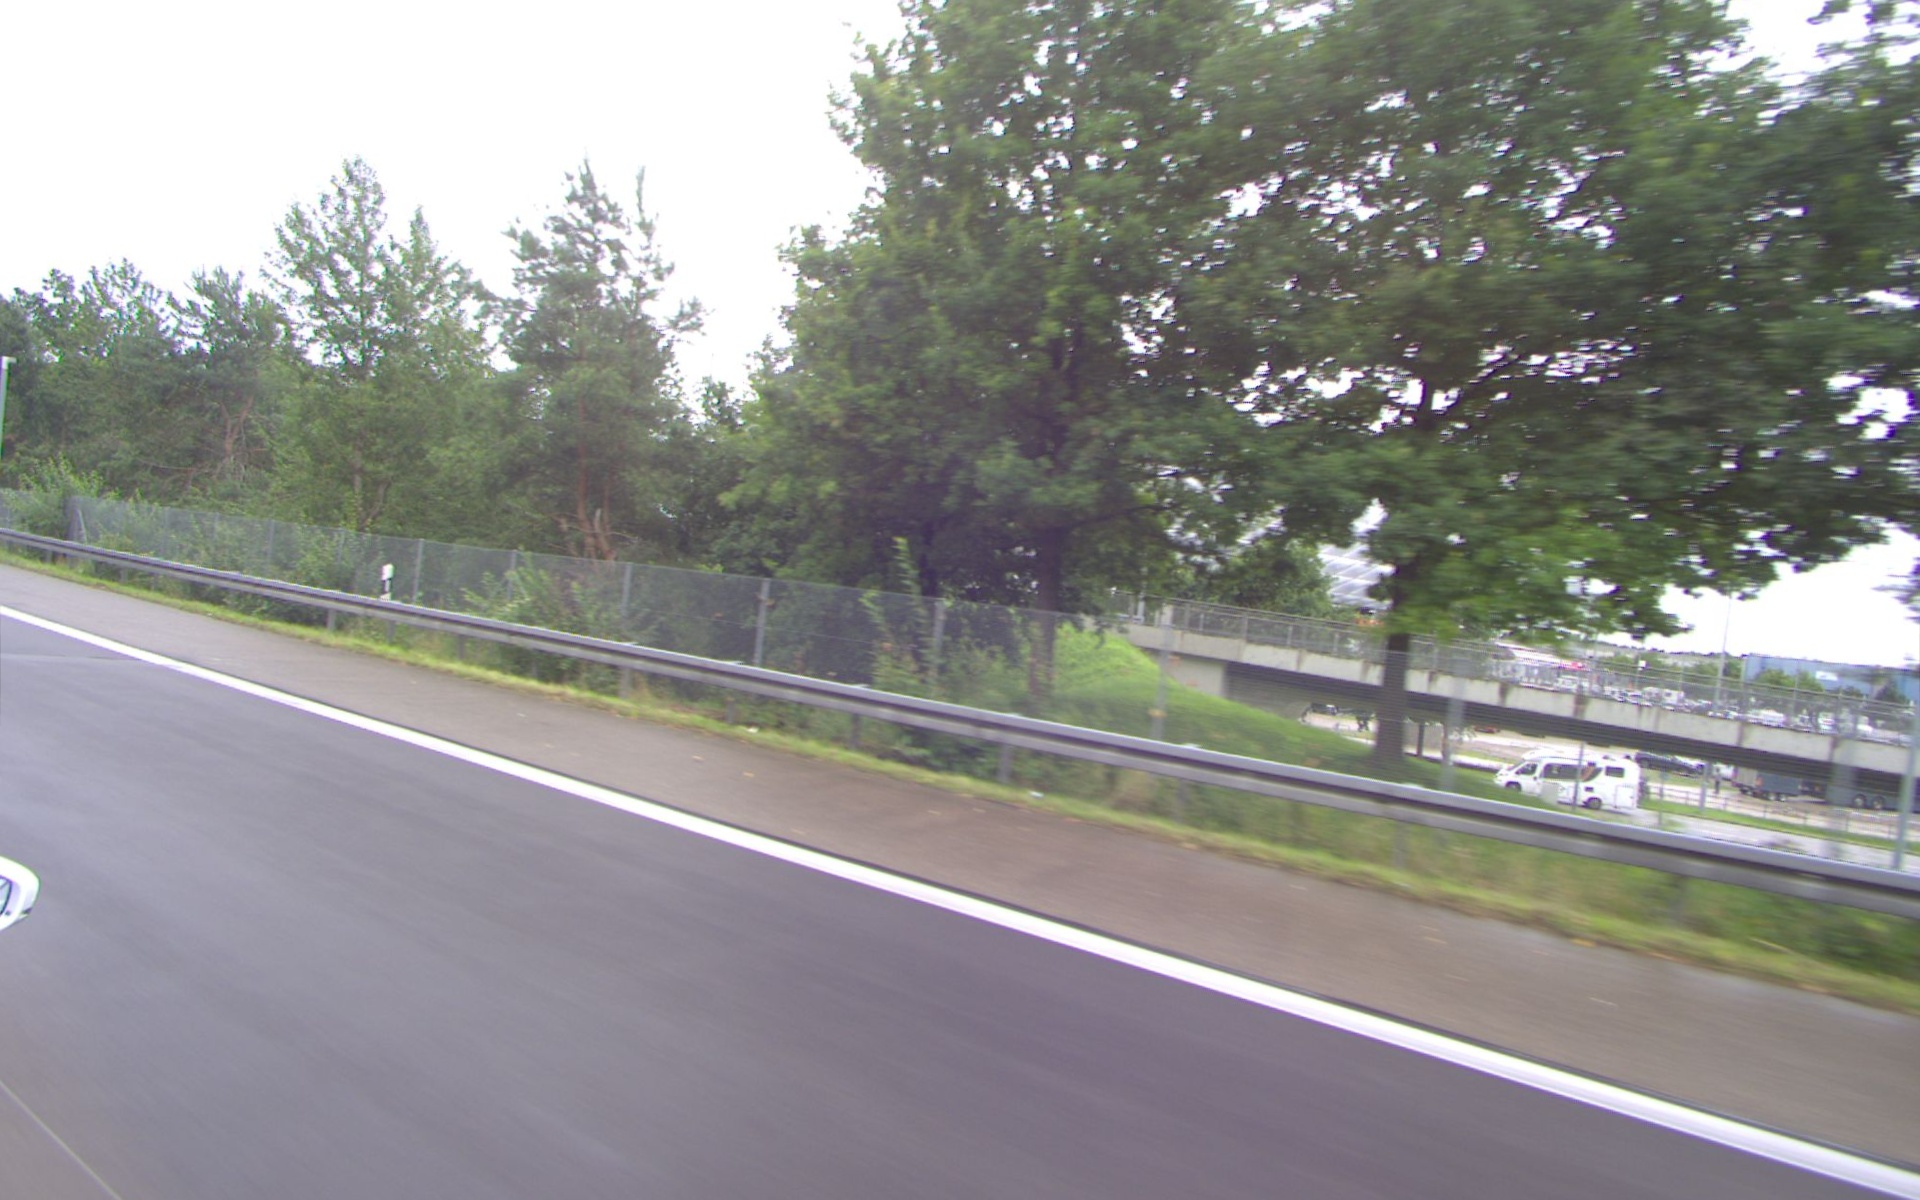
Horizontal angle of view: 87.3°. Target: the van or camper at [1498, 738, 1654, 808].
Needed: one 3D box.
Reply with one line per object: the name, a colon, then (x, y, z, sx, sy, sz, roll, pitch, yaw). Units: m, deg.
van or camper: (34.677, 9.705, 56.921, 7.127, 2.585, 2.151, 5, 3, 26)
